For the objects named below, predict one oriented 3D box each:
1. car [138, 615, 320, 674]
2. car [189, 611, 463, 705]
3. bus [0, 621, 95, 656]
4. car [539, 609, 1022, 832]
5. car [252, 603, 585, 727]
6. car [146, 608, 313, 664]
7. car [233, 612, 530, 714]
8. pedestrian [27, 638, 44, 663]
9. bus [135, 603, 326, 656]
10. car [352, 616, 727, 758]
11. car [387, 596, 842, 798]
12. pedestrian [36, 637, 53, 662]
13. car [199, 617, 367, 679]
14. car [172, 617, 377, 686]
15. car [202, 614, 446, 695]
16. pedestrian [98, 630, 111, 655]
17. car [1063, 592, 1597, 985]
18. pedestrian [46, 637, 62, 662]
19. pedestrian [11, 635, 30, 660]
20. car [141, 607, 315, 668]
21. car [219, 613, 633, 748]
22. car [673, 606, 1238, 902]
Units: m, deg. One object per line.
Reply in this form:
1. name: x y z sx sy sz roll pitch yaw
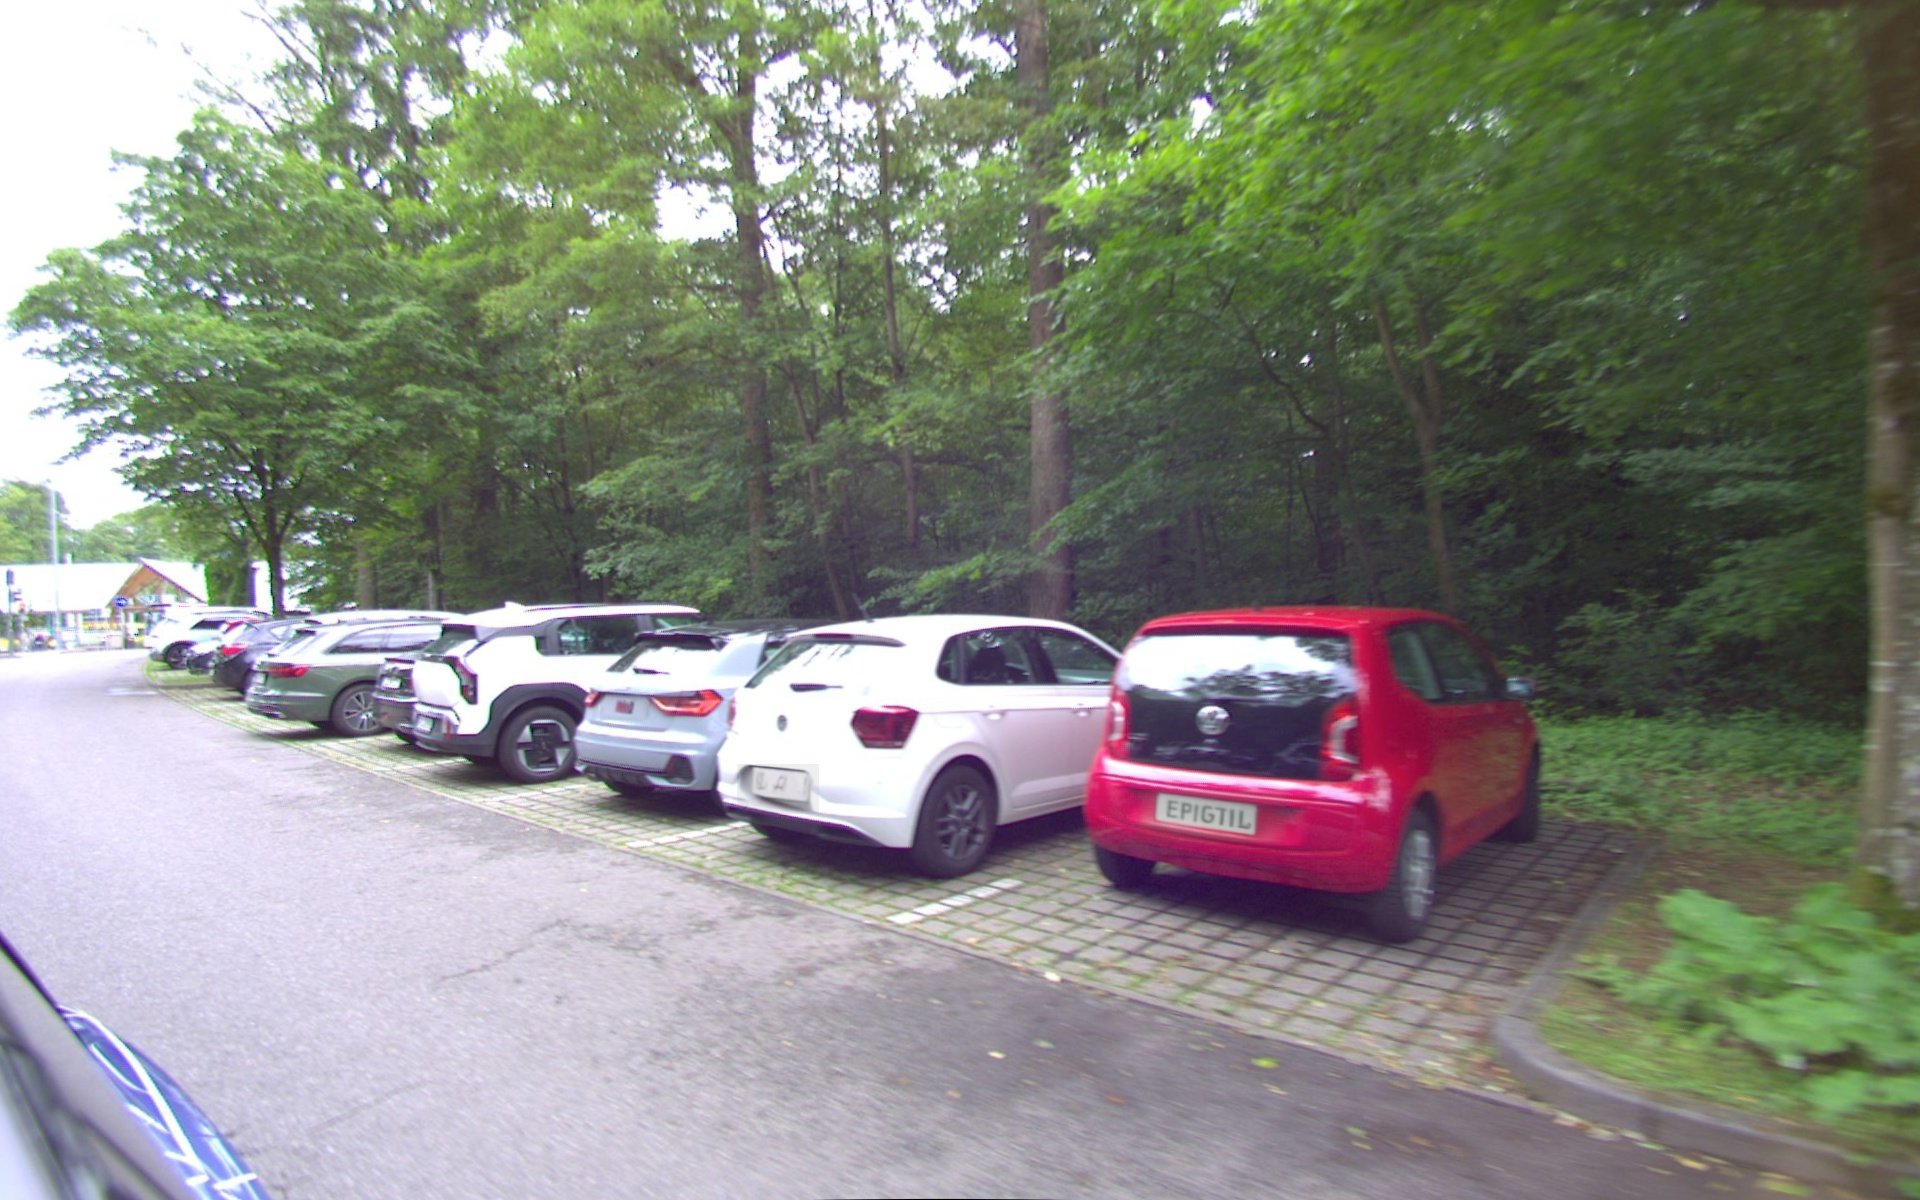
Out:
1. car: -21.827 1.269 30.339 4.299 1.610 2.035 0 -1 -38
2. car: -12.076 1.014 19.408 4.182 1.541 2.009 0 -1 -42
3. bus: -101.316 4.134 108.047 3.917 3.509 18.604 -4 -1 -7
4. car: -1.328 0.810 8.642 1.895 1.432 3.765 -1 -1 39
5. car: -8.319 0.893 15.817 1.970 1.660 4.187 -2 -1 42
6. car: -27.485 1.312 38.296 5.017 1.930 1.983 0 -1 -34
7. car: -9.982 1.008 17.689 1.763 1.545 4.186 -2 -1 44
8. pedestrian: -67.819 3.682 74.211 0.555 1.771 0.667 -4 -1 6
9. bus: -48.225 1.880 67.479 2.793 3.183 10.439 -4 -2 22
10. car: -4.855 0.902 12.013 1.729 1.366 3.748 -2 -1 43
11. car: -3.392 0.806 10.232 3.910 1.640 2.002 0 -1 -39
12. pedestrian: -67.173 3.664 74.263 0.663 1.771 0.596 -4 -2 20
13. car: -17.872 1.229 26.782 3.561 1.485 1.677 0 -1 -39
14. car: -16.628 1.195 24.654 3.939 1.502 1.709 0 -2 -43
15. car: -13.511 1.077 21.654 4.182 1.484 1.722 -1 0 -43
16. pedestrian: -63.372 3.167 74.960 0.668 1.771 0.647 -5 -2 44
17. car: 2.276 0.744 5.712 1.683 1.492 3.428 -1 -1 42
18. pedestrian: -66.998 3.685 74.844 0.663 1.771 0.596 -4 -2 20
19. pedestrian: -68.547 3.457 73.867 0.721 1.771 0.739 -3 -2 -21
20. car: -23.312 1.159 32.386 4.367 1.707 2.176 -1 -1 -36
21. car: -7.090 0.948 13.782 2.095 1.489 4.587 -2 -1 44
22. car: 0.170 0.775 6.927 1.872 1.430 3.686 -2 -1 42
